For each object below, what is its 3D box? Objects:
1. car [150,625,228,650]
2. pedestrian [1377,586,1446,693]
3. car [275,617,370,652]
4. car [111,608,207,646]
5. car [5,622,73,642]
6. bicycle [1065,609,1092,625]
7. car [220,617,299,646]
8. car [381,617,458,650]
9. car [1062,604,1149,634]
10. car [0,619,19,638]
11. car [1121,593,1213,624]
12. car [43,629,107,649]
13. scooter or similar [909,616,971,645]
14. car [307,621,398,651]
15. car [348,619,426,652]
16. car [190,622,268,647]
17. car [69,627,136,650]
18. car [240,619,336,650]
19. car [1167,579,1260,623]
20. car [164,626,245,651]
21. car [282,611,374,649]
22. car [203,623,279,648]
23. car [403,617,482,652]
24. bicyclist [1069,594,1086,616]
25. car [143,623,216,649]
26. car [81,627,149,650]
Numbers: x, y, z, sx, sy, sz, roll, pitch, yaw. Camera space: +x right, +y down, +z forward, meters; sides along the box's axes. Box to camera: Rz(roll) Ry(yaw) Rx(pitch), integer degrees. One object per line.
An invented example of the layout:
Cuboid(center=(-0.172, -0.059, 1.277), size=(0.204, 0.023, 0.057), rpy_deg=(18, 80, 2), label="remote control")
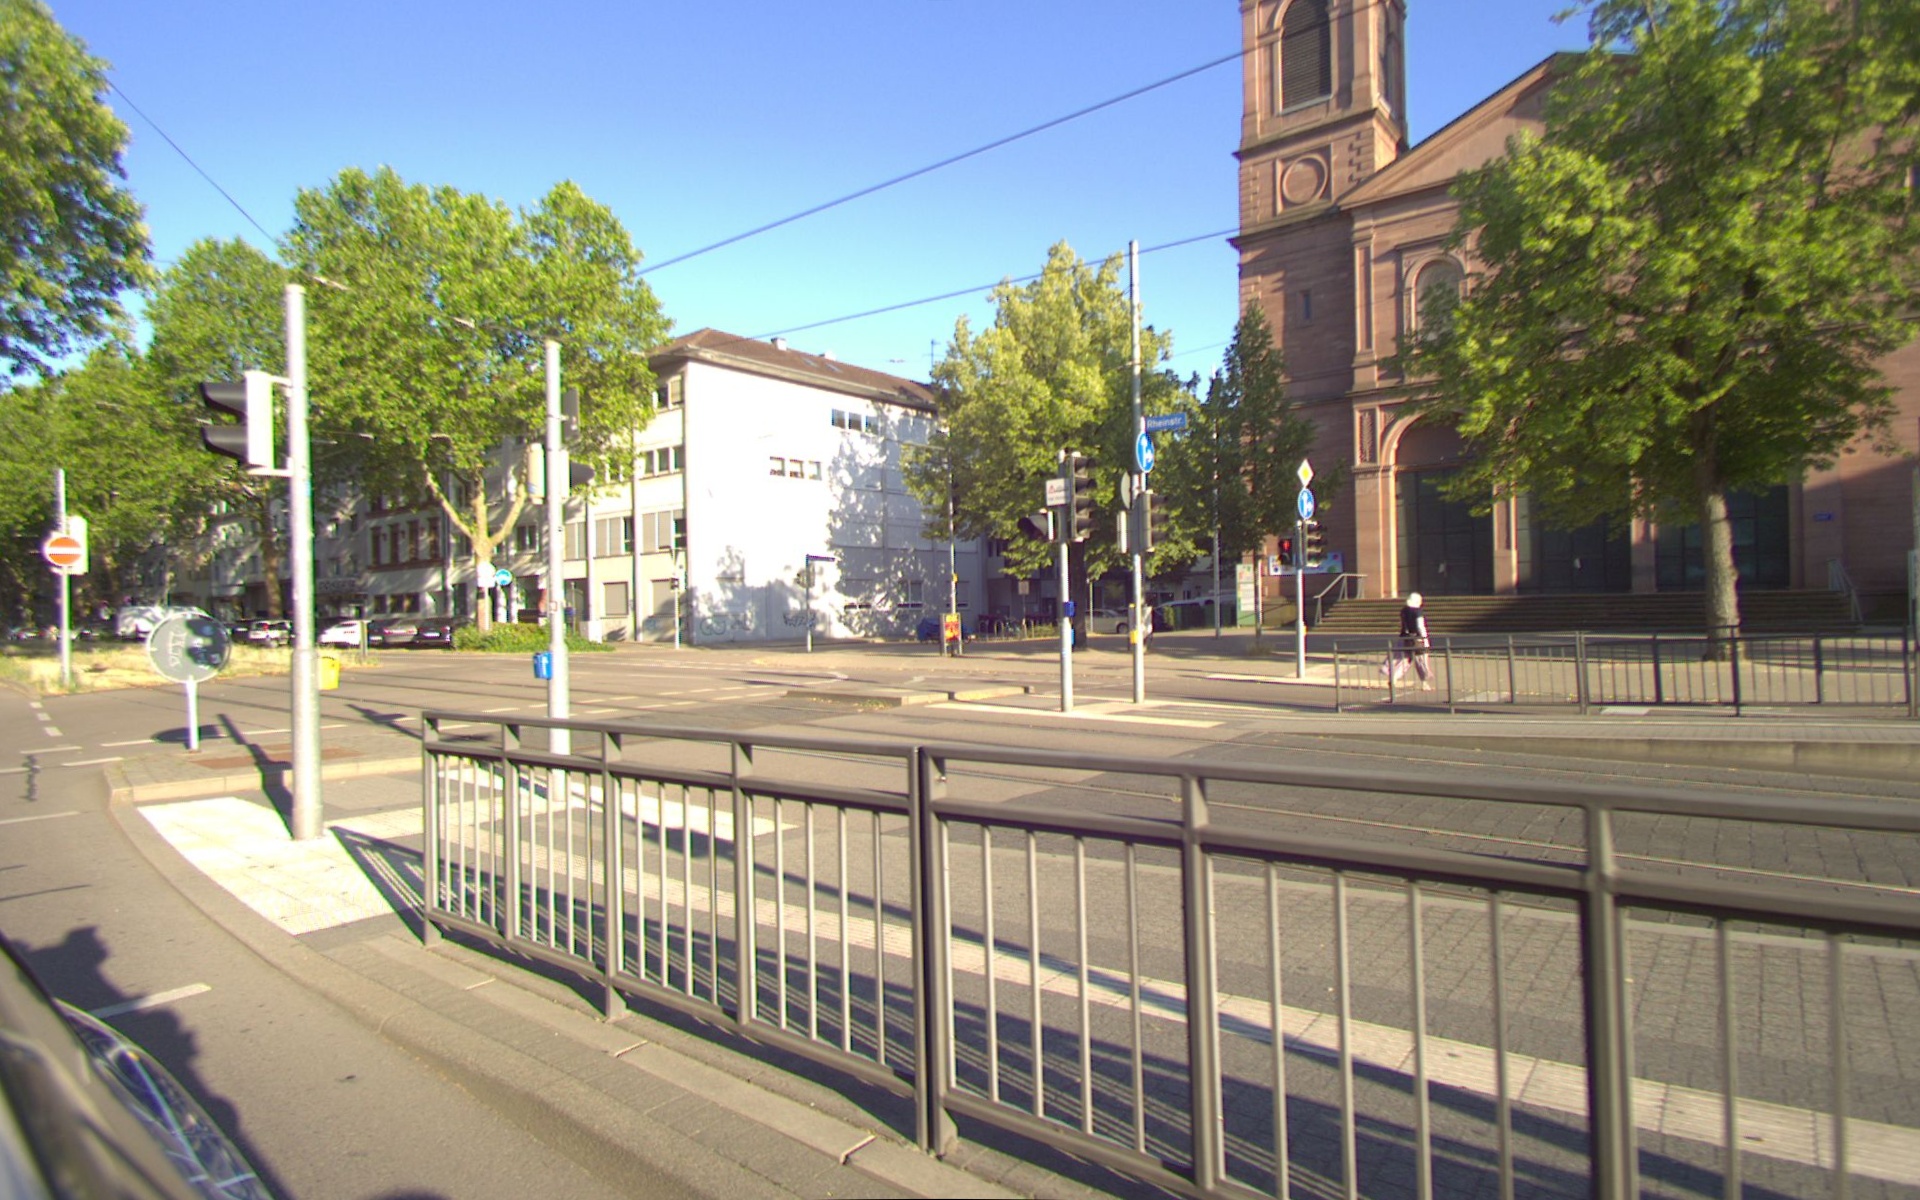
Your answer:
Cuboid(center=(-53.347, 2.556, 70.116), size=(1.979, 1.630, 3.984), rpy_deg=(-1, -1, 12), label="car")
Cuboid(center=(7.888, 0.672, 17.663), size=(0.832, 1.773, 0.910), rpy_deg=(-1, 2, 41), label="pedestrian")
Cuboid(center=(-33.203, 1.747, 52.851), size=(2.126, 1.697, 4.252), rpy_deg=(-1, -1, 4), label="car")
Cuboid(center=(-60.302, 1.984, 76.335), size=(2.160, 2.721, 5.586), rpy_deg=(-1, -1, 15), label="car")
Cuboid(center=(-82.630, 2.832, 90.815), size=(1.995, 1.719, 4.186), rpy_deg=(-2, -1, 35), label="car")
Cuboid(center=(7.310, 1.048, 62.422), size=(0.632, 0.988, 1.963), rpy_deg=(-2, -1, 40), label="bicycle")
Cuboid(center=(-42.259, 1.866, 61.175), size=(1.880, 1.626, 4.258), rpy_deg=(-1, 0, -1), label="car")
Cuboid(center=(-25.492, 1.545, 47.870), size=(1.717, 1.443, 3.974), rpy_deg=(-2, -1, -4), label="car")
Cuboid(center=(7.342, 0.986, 51.160), size=(3.996, 1.409, 1.793), rpy_deg=(-3, -2, 40), label="car")
Cuboid(center=(-116.464, 3.431, 121.730), size=(2.071, 2.230, 4.945), rpy_deg=(-1, -1, -3), label="car")
Cuboid(center=(11.613, 0.489, 56.913), size=(4.704, 1.674, 1.974), rpy_deg=(-1, 0, 39), label="car")
Cuboid(center=(-79.038, 3.458, 90.434), size=(1.979, 1.719, 3.984), rpy_deg=(-1, -1, 12), label="car")
Cuboid(center=(-0.820, 1.239, 41.484), size=(2.446, 1.135, 1.082), rpy_deg=(-1, 0, 40), label="scooter or similar")
Cuboid(center=(-30.455, 1.755, 50.921), size=(2.122, 1.388, 4.258), rpy_deg=(-1, -1, -1), label="car")
Cuboid(center=(-28.085, 1.695, 49.750), size=(1.805, 1.515, 3.974), rpy_deg=(-1, -1, -4), label="car")
Cuboid(center=(-47.440, 2.207, 65.799), size=(1.882, 1.468, 4.253), rpy_deg=(-1, -1, 3), label="car")
Cuboid(center=(-72.534, 3.249, 85.690), size=(1.979, 1.829, 3.984), rpy_deg=(-1, -1, 12), label="car")
Cuboid(center=(-37.049, 1.876, 55.902), size=(1.633, 1.569, 4.223), rpy_deg=(-1, -1, 24), label="car")
Cuboid(center=(15.295, 0.068, 61.155), size=(5.109, 2.537, 1.973), rpy_deg=(-1, 0, 40), label="car")
Cuboid(center=(-50.876, 2.587, 68.199), size=(1.984, 1.529, 3.975), rpy_deg=(-1, -1, 19), label="car")
Cuboid(center=(-34.903, 1.628, 56.002), size=(1.507, 1.958, 4.223), rpy_deg=(-1, -1, 24), label="car")
Cuboid(center=(-45.055, 2.187, 63.539), size=(1.582, 1.470, 4.253), rpy_deg=(-1, -1, 3), label="car")
Cuboid(center=(-23.190, 1.524, 45.490), size=(1.746, 1.442, 3.974), rpy_deg=(-1, -1, -4), label="car")
Cuboid(center=(7.253, 0.285, 62.389), size=(0.632, 1.341, 0.956), rpy_deg=(-2, -1, 40), label="bicyclist")
Cuboid(center=(-57.874, 2.638, 75.151), size=(1.979, 1.829, 3.984), rpy_deg=(-1, -1, 12), label="car")
Cuboid(center=(-69.899, 3.170, 83.753), size=(1.979, 1.829, 3.984), rpy_deg=(-1, -1, 12), label="car")
